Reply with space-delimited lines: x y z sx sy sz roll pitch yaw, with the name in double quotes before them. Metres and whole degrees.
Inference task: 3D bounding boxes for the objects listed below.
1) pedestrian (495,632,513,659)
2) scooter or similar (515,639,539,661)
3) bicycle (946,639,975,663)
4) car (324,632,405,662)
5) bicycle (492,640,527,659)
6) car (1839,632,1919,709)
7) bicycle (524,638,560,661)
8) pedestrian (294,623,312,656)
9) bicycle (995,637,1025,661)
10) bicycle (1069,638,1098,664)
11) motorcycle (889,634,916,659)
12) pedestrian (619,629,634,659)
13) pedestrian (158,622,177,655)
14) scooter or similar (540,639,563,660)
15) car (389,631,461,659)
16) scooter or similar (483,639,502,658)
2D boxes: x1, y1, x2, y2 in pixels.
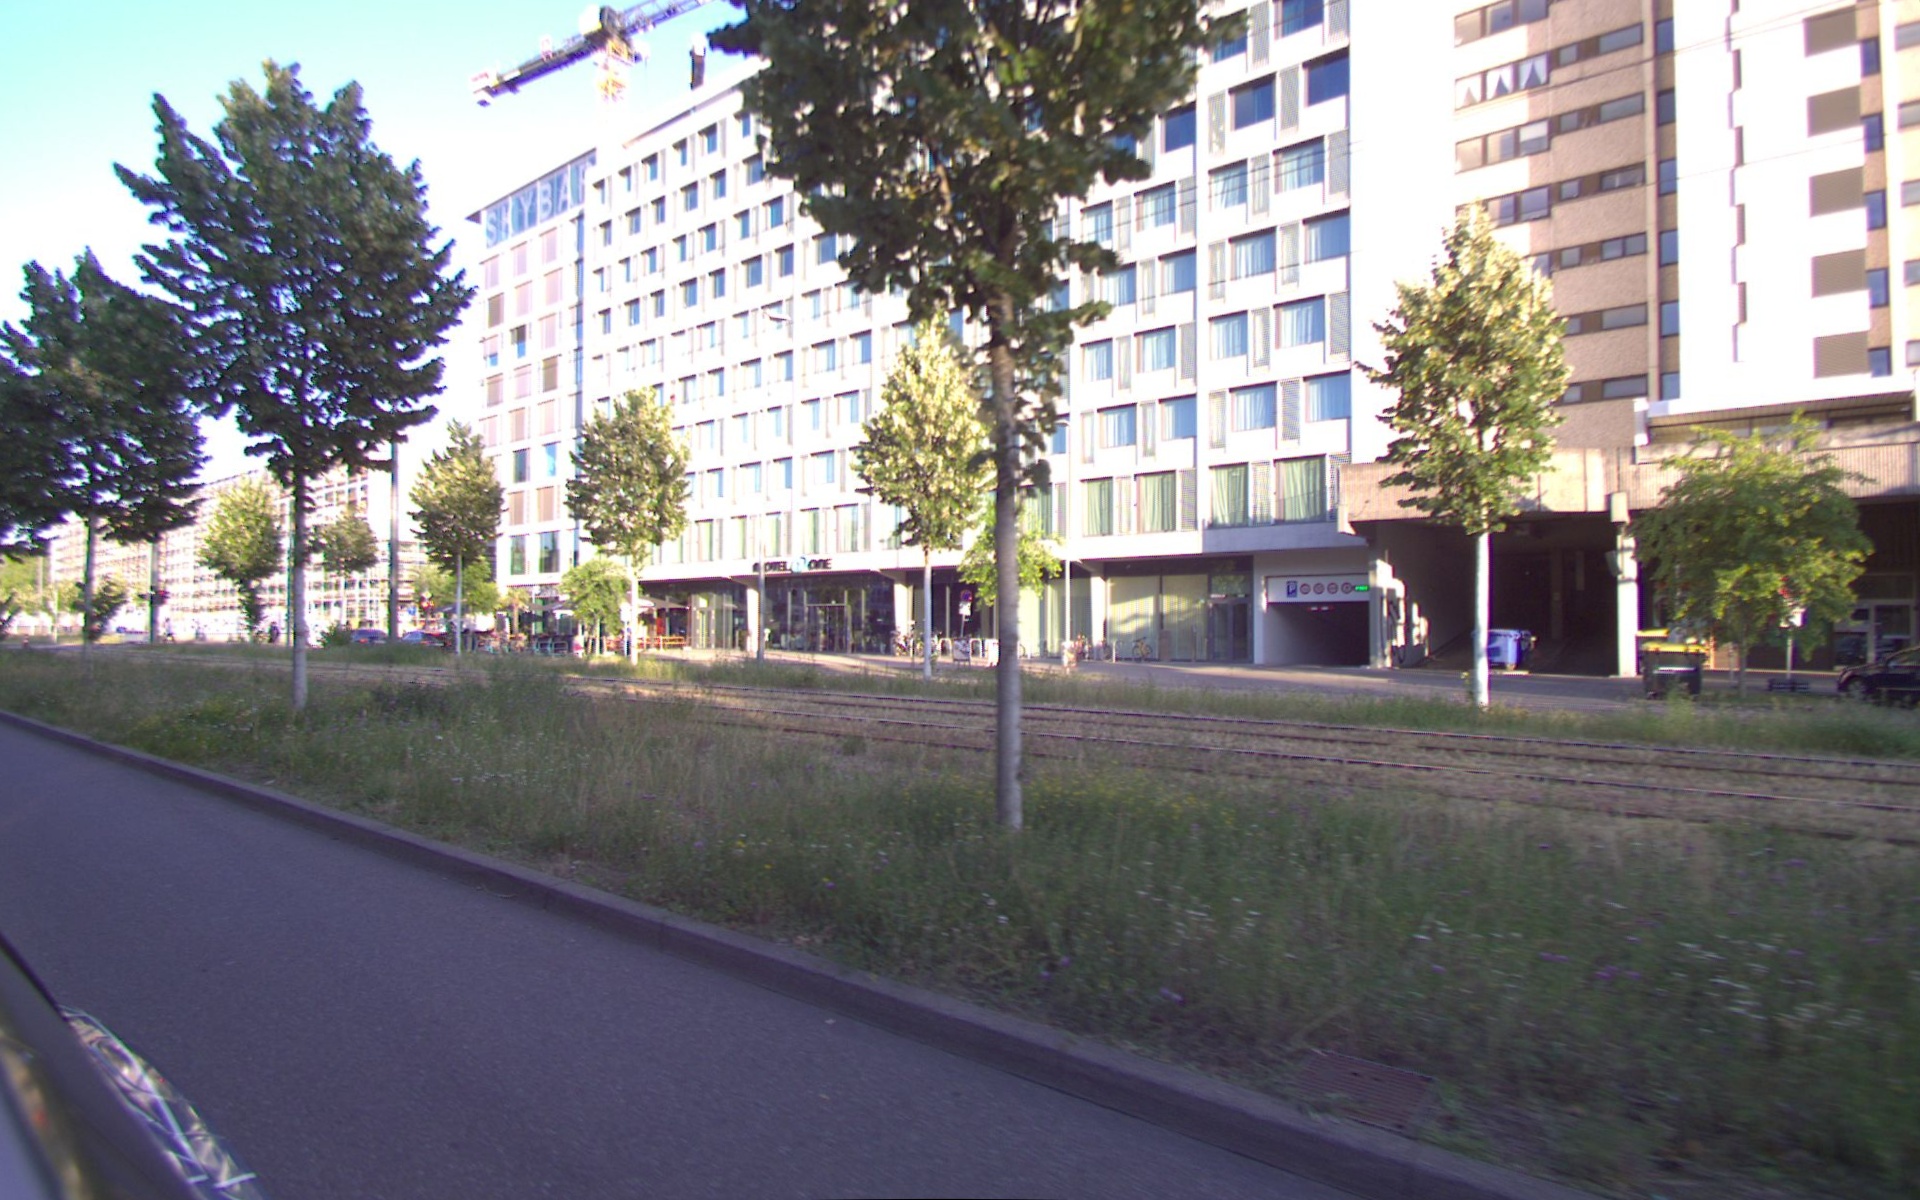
"pedestrian" -28.948 2.887 64.236 0.701 1.616 0.678 -2 0 13
"scooter or similar" -24.272 2.783 56.730 0.338 1.227 1.170 -1 -2 39
"bicycle" 0.035 2.306 46.008 0.420 1.028 1.727 -1 -2 35
"car" -30.675 2.398 52.091 4.795 1.452 1.995 -2 -4 39
"bicycle" -26.070 2.853 58.547 0.442 1.067 1.892 -2 -1 35
"car" 21.067 1.461 20.867 1.979 1.602 4.288 0 -2 -3
"bicycle" -23.371 2.771 56.612 0.442 1.208 1.892 -2 -1 35
"pedestrian" -39.042 2.359 60.108 0.708 1.938 0.672 -2 0 40
"bicycle" 2.211 2.155 44.389 0.420 1.028 1.772 -1 -2 35
"bicycle" 5.089 2.082 41.601 0.420 1.028 1.772 -1 -2 35
"motorcycle" -2.737 2.220 48.591 0.513 1.180 1.883 -1 -1 23
"pedestrian" -18.155 2.391 55.080 0.603 1.612 0.492 -2 0 40
"pedestrian" -44.678 2.169 57.058 0.762 1.850 0.700 -2 -1 38
"scooter or similar" -22.473 2.716 55.678 0.338 1.172 1.170 -2 -2 39
"car" -28.712 2.385 54.278 4.218 1.451 1.867 -2 -3 38
"scooter or similar" -27.910 2.880 60.445 0.338 1.093 0.962 2 2 39
